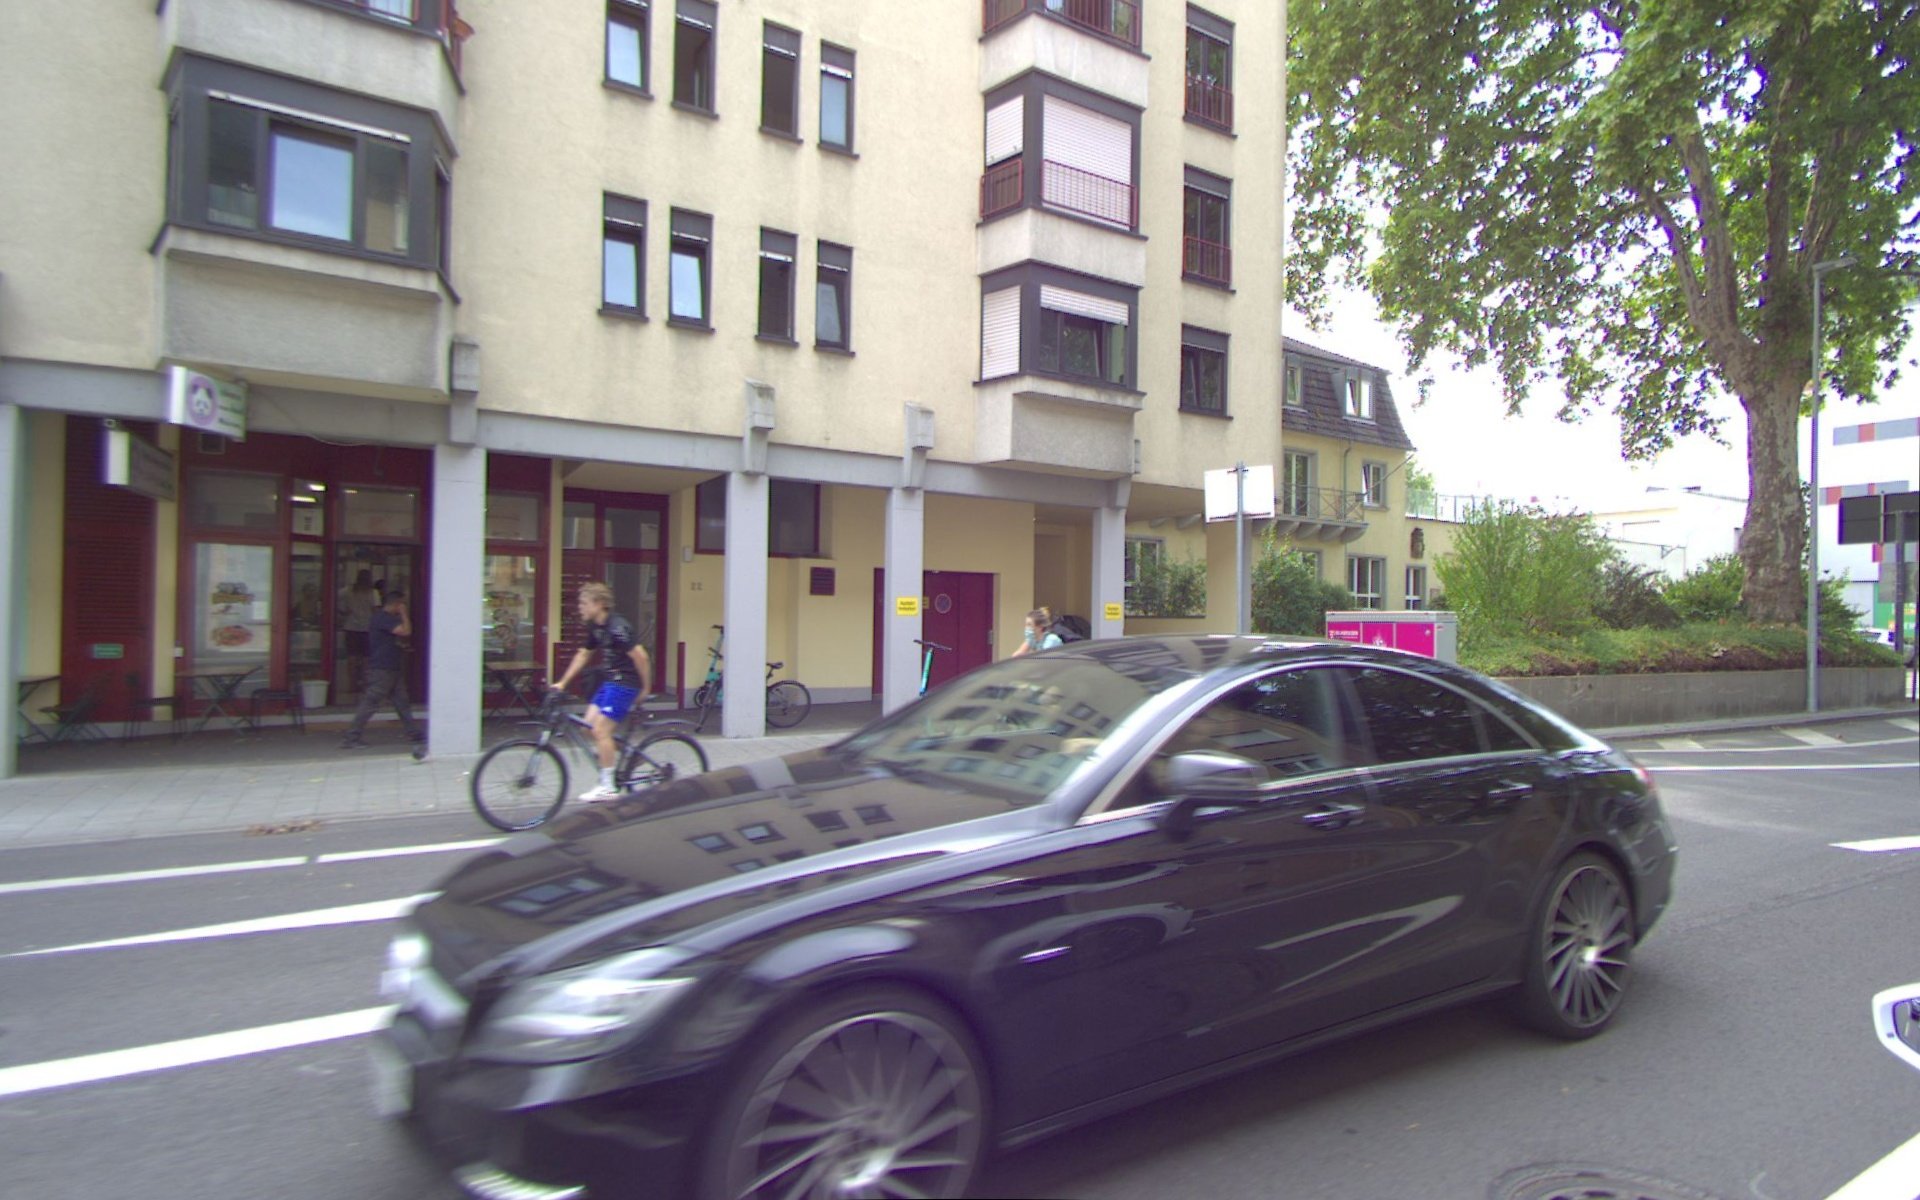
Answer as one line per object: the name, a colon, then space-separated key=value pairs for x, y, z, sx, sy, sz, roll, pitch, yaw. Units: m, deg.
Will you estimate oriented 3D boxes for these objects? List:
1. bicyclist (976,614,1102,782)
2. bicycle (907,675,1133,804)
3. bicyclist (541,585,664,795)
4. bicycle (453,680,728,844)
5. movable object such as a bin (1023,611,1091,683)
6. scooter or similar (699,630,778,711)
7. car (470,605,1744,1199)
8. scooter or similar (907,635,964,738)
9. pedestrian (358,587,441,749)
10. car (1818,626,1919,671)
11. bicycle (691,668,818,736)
bicyclist: x=0.779 y=0.928 z=9.945 sx=1.062 sy=1.546 sz=0.654 roll=0 pitch=1 yaw=-26
bicycle: x=0.612 y=1.323 z=9.907 sx=2.167 sy=1.020 sz=0.734 roll=0 pitch=1 yaw=-28
bicyclist: x=-2.805 y=0.659 z=7.868 sx=0.845 sy=1.546 sz=0.655 roll=0 pitch=1 yaw=-26
bicycle: x=-2.875 y=1.205 z=7.866 sx=1.951 sy=1.020 sz=0.734 roll=0 pitch=1 yaw=-28
movable object such as a bin: x=2.184 y=1.049 z=22.635 sx=1.055 sy=1.561 sz=1.136 roll=1 pitch=-1 yaw=-33
scooter or similar: x=-3.393 y=1.068 z=15.434 sx=1.164 sy=1.217 sz=0.284 roll=1 pitch=-1 yaw=-34
car: x=0.803 y=0.787 z=3.701 sx=4.555 sy=1.426 sz=1.801 roll=2 pitch=-1 yaw=-31
scooter or similar: x=-0.304 y=1.102 z=13.204 sx=0.281 sy=1.281 sz=1.176 roll=0 pitch=-1 yaw=22
pedestrian: x=-6.406 y=0.756 z=11.493 sx=0.775 sy=1.781 sz=0.578 roll=1 pitch=1 yaw=-31
car: x=34.462 y=1.802 z=38.003 sx=4.184 sy=1.539 sz=1.749 roll=1 pitch=0 yaw=-31
bicycle: x=-2.721 y=1.335 z=13.379 sx=1.600 sy=0.832 sz=0.427 roll=2 pitch=-1 yaw=-31
